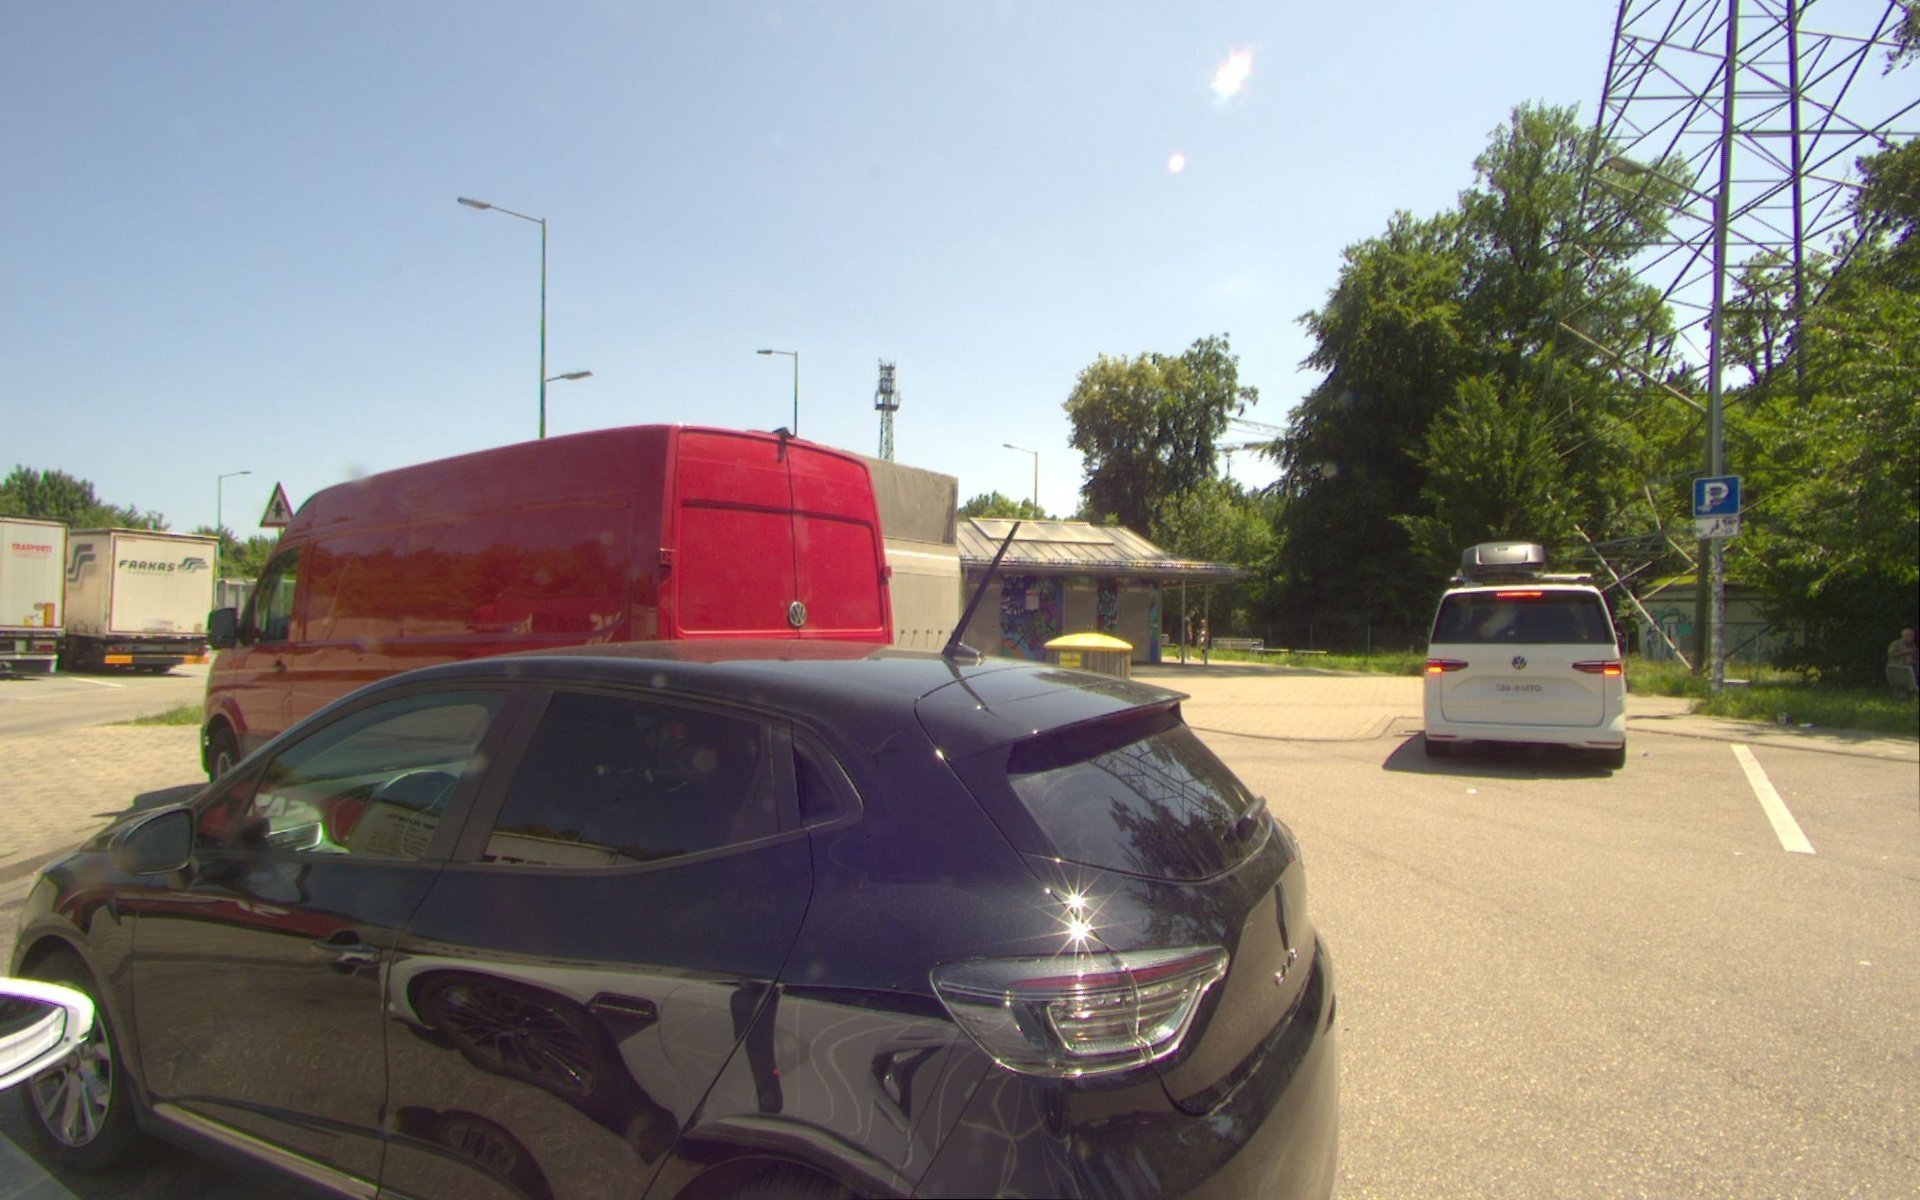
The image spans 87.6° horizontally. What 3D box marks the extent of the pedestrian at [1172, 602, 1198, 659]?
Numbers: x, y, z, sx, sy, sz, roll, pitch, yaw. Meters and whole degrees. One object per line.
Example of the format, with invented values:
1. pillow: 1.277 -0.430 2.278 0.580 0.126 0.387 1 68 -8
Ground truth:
1. pedestrian: 8.259 1.123 36.724 0.763 2.067 0.646 0 -1 -7

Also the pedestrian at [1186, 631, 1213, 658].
1. pedestrian: 8.497 1.567 35.592 0.763 0.960 0.646 0 -1 -7

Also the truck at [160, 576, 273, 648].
1. truck: -37.698 0.581 50.746 5.405 3.407 2.847 1 -2 34

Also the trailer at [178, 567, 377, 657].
1. trailer: -32.389 0.497 47.147 13.530 3.764 2.834 1 -2 34

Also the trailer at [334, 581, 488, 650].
1. trailer: -36.055 0.932 65.440 13.530 4.101 2.834 1 -2 34

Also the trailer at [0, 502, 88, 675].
1. trailer: -28.970 -0.361 28.156 13.523 4.185 2.835 1 -2 33

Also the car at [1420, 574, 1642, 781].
1. car: 6.523 0.780 11.854 1.881 1.937 4.549 -1 -1 26

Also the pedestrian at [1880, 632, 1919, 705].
1. pedestrian: 18.576 1.331 19.644 0.660 1.422 0.647 -1 -1 33

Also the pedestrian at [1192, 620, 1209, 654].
1. pedestrian: 10.931 1.676 45.522 0.633 1.547 0.565 0 -1 -4

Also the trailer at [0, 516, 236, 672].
1. trailer: -27.662 -0.182 31.637 13.523 4.185 2.835 1 -2 33

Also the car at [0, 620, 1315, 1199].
1. car: -1.060 0.842 2.917 3.757 1.501 1.736 0 -1 27

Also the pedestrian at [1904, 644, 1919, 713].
1. pedestrian: 17.190 1.370 17.489 0.876 1.192 0.666 -1 -2 32

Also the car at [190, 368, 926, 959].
1. car: -3.353 0.318 7.368 6.310 2.731 2.060 0 -1 37
